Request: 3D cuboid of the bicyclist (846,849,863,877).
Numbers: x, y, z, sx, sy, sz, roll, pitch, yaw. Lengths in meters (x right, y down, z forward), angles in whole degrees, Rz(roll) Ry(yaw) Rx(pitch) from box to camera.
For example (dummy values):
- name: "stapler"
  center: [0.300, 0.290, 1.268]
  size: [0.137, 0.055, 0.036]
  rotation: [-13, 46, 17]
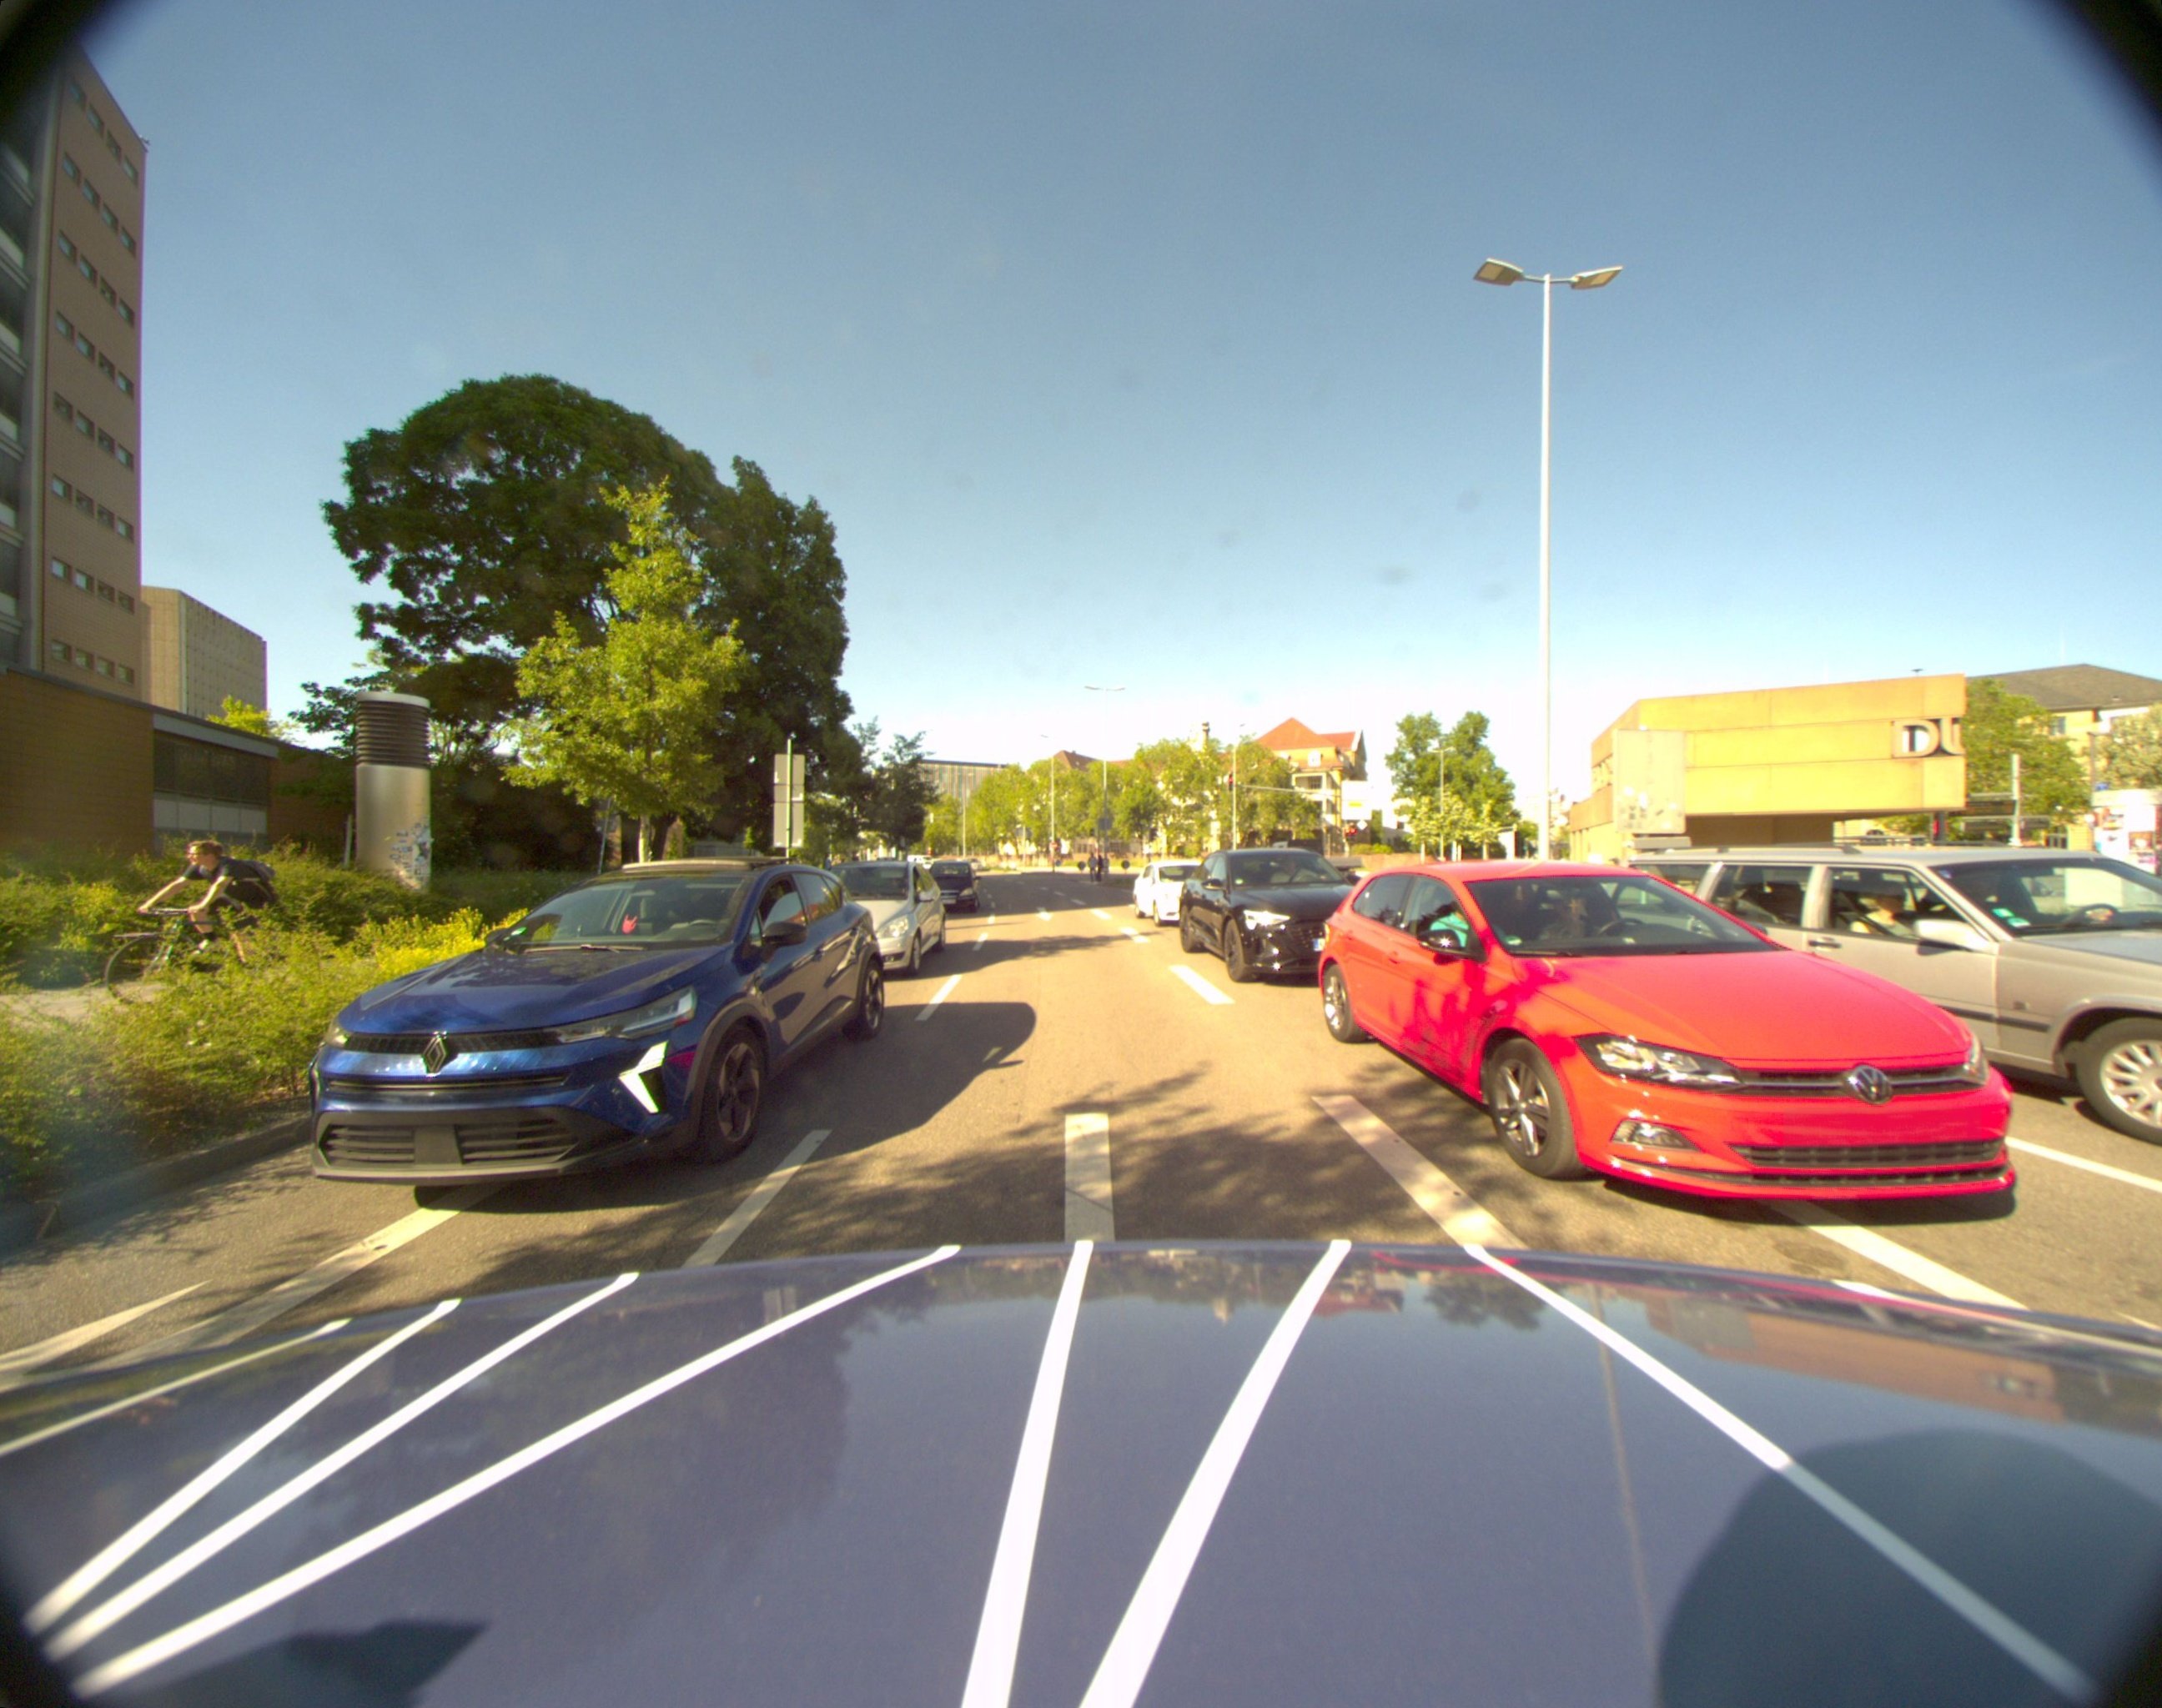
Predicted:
- name: "bicyclist"
  center: [-10.647, 0.429, 35.748]
  size: [0.723, 1.271, 0.906]
  rotation: [2, 0, -17]

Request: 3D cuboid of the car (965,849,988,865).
- name: "car"
  center: [-11.594, 0.330, 84.290]
  size: [1.527, 1.669, 3.374]
  rotation: [-2, 0, -24]

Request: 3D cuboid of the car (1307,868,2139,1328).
- name: "car"
  center: [2.794, 0.874, 4.542]
  size: [1.674, 1.464, 3.853]
  rotation: [-2, 0, -1]

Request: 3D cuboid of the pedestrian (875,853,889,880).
- name: "pedestrian"
  center: [-11.991, 0.756, 45.752]
  size: [0.694, 1.594, 0.660]
  rotation: [0, 0, -24]

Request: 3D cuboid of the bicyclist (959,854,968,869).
- name: "bicyclist"
  center: [-12.378, 0.819, 80.004]
  size: [0.696, 1.549, 0.814]
  rotation: [-2, 1, -23]

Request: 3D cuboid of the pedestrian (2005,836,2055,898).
- name: "pedestrian"
  center: [27.742, 0.371, 22.216]
  size: [0.646, 1.778, 0.667]
  rotation: [-2, 1, -7]

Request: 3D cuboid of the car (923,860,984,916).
- name: "car"
  center: [-3.955, 1.004, 23.941]
  size: [1.651, 1.601, 3.488]
  rotation: [0, 0, -6]

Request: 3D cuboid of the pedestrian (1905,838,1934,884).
- name: "pedestrian"
  center: [33.020, 0.272, 29.916]
  size: [0.645, 1.766, 0.468]
  rotation: [-1, 1, -4]

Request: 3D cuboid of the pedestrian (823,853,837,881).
- name: "pedestrian"
  center: [-14.448, 0.723, 43.729]
  size: [0.693, 1.594, 0.660]
  rotation: [0, 0, -20]

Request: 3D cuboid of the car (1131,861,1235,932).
- name: "car"
  center: [2.274, 0.905, 17.772]
  size: [1.575, 1.410, 3.711]
  rotation: [-2, 0, -6]

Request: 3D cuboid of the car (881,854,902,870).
- name: "car"
  center: [-21.693, 0.894, 86.744]
  size: [1.830, 1.842, 3.745]
  rotation: [0, 0, -21]

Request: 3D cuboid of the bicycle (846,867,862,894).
- name: "bicycle"
  center: [-10.710, 1.225, 35.836]
  size: [0.693, 1.211, 1.832]
  rotation: [2, 0, -17]

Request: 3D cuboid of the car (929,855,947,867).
- name: "car"
  center: [-18.557, 0.910, 98.696]
  size: [1.598, 1.596, 3.066]
  rotation: [-1, 0, -26]

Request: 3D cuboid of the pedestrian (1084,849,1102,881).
- name: "pedestrian"
  center: [0.720, 0.639, 44.515]
  size: [0.887, 1.814, 0.776]
  rotation: [-2, 1, -7]

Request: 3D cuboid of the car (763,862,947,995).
- name: "car"
  center: [-3.192, 0.955, 11.562]
  size: [1.786, 1.615, 4.042]
  rotation: [0, 0, -3]

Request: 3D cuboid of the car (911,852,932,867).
- name: "car"
  center: [-22.428, 0.793, 106.748]
  size: [1.790, 2.002, 4.223]
  rotation: [-2, 1, -26]

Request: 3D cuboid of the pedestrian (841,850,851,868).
- name: "pedestrian"
  center: [-25.310, 0.556, 81.712]
  size: [0.823, 1.906, 0.770]
  rotation: [-2, 1, -29]

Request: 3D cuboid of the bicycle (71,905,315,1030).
- name: "bicycle"
  center: [-9.228, 1.130, 8.017]
  size: [0.517, 1.038, 1.768]
  rotation: [2, 0, -1]

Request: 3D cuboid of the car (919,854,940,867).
- name: "car"
  center: [-16.785, 0.745, 84.086]
  size: [1.754, 1.370, 3.568]
  rotation: [-1, 0, -21]

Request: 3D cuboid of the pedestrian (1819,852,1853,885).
- name: "pedestrian"
  center: [30.194, 0.567, 30.400]
  size: [0.645, 1.303, 0.763]
  rotation: [-1, 0, 10]

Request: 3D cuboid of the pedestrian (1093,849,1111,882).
- name: "pedestrian"
  center: [1.187, 0.635, 43.291]
  size: [0.757, 1.814, 0.775]
  rotation: [-2, 1, -17]

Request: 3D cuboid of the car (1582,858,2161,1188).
- name: "car"
  center: [5.771, 0.791, 4.957]
  size: [1.713, 1.464, 4.750]
  rotation: [-1, 0, -3]

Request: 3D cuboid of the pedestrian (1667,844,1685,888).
- name: "pedestrian"
  center: [24.009, 0.467, 30.647]
  size: [0.467, 1.766, 0.647]
  rotation: [0, 1, 29]

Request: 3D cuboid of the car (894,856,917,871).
- name: "car"
  center: [-18.576, 1.016, 80.478]
  size: [1.754, 1.467, 3.567]
  rotation: [-2, 1, -23]

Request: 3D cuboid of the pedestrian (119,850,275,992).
- name: "pedestrian"
  center: [-9.249, 0.660, 7.991]
  size: [0.517, 1.394, 0.961]
  rotation: [2, 1, -1]

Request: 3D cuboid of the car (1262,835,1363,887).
- name: "car"
  center: [11.100, 0.301, 37.027]
  size: [2.117, 2.300, 6.209]
  rotation: [-1, 0, -10]

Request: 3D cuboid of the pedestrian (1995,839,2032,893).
- name: "pedestrian"
  center: [31.269, 0.396, 25.485]
  size: [0.644, 1.766, 0.469]
  rotation: [0, 1, 21]

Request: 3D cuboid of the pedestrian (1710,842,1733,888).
- name: "pedestrian"
  center: [24.683, 0.416, 29.294]
  size: [0.644, 1.766, 0.618]
  rotation: [0, 1, 42]

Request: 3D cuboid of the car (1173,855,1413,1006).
- name: "car"
  center: [2.568, 0.828, 10.427]
  size: [1.859, 1.606, 4.452]
  rotation: [0, 0, -3]

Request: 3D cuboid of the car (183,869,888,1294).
- name: "car"
  center: [-2.690, 0.951, 5.067]
  size: [1.705, 1.596, 4.084]
  rotation: [-1, 0, 0]

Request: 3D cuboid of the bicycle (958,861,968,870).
- name: "bicycle"
  center: [-12.393, 1.241, 80.035]
  size: [0.591, 0.884, 1.651]
  rotation: [-2, 0, -23]

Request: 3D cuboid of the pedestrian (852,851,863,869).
- name: "pedestrian"
  center: [-24.125, 0.631, 82.006]
  size: [0.823, 1.906, 0.770]
  rotation: [-2, 1, -29]

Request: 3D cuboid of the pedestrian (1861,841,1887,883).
- name: "pedestrian"
  center: [33.298, 0.324, 31.913]
  size: [0.645, 1.766, 0.468]
  rotation: [-1, 1, -4]

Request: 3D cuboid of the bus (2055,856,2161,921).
- name: "bus"
  center: [21.646, 0.665, 14.090]
  size: [1.646, 1.234, 4.181]
  rotation: [-1, 0, -5]
